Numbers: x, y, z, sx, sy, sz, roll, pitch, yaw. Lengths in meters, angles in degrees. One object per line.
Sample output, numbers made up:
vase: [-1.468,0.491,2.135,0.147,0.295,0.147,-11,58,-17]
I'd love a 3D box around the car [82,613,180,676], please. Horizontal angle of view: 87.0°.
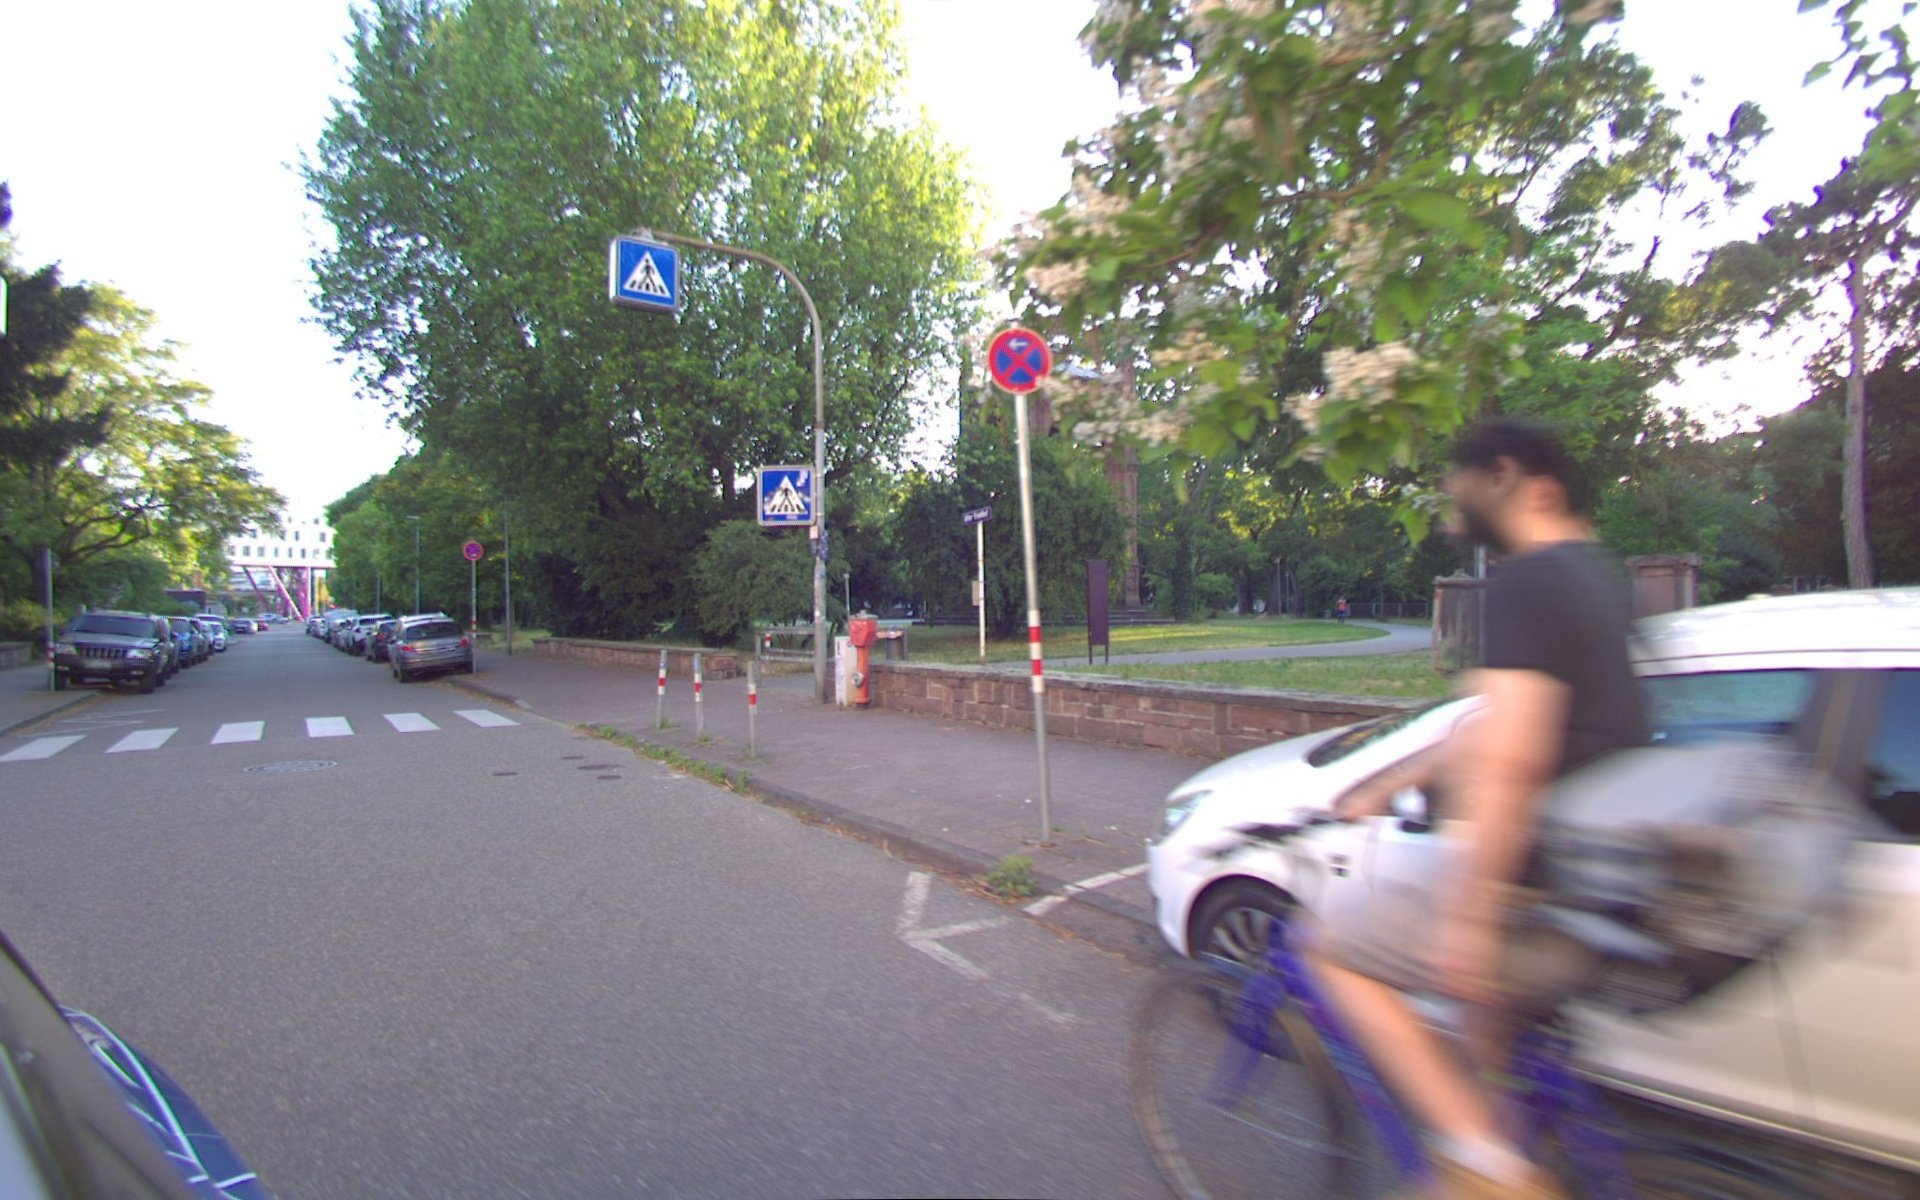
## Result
car: [-22.147,1.197,27.167,1.758,1.511,3.893,5,-5,-36]

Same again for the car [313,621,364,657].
car: [-31.692,1.951,51.548,1.759,1.583,3.893,-6,2,-37]

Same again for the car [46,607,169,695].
car: [-18.782,1.108,22.446,1.758,1.767,3.893,3,-3,-37]

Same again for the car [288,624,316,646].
car: [-61.260,3.225,94.210,1.759,1.796,4.021,-6,2,-37]

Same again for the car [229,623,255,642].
car: [-68.951,3.083,97.199,1.967,1.763,4.009,-1,-1,-36]

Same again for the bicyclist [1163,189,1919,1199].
bicyclist: [1.032,0.485,1.731,0.847,1.822,1.018,1,-2,-39]

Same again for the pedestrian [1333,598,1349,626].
pedestrian: [23.162,0.713,61.569,0.657,1.681,0.668,0,0,-10]

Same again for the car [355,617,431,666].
car: [-20.159,1.440,35.942,1.759,1.487,3.893,-6,2,-37]

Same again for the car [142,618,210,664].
car: [-28.337,1.481,36.655,1.758,1.511,3.893,5,-5,-36]

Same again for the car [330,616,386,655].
car: [-28.544,1.671,47.948,1.759,1.583,3.893,-6,2,-37]

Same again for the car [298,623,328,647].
car: [-55.088,2.986,86.160,1.759,1.808,3.893,-6,2,-37]

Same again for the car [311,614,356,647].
car: [-40.021,1.919,64.612,1.934,1.850,3.893,-6,2,-37]

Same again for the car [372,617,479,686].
car: [-13.839,1.273,26.080,1.759,1.461,3.893,-6,2,-37]

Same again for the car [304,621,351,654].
car: [-35.052,2.058,56.055,1.759,1.583,3.893,-6,2,-37]

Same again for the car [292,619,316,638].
car: [-70.548,3.061,108.754,1.759,1.796,4.021,-6,2,-37]

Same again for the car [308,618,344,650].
car: [-46.088,2.471,73.553,1.759,2.051,3.893,-6,2,-37]

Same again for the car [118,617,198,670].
car: [-25.345,1.359,32.095,1.758,1.511,3.893,5,-5,-36]

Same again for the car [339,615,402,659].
car: [-24.954,1.539,42.753,1.759,1.583,3.893,-6,2,-37]

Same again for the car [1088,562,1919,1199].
car: [2.401,0.686,2.942,1.641,1.526,3.891,-3,1,-40]

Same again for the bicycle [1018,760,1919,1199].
bicycle: [1.011,0.951,1.698,0.750,1.105,1.867,3,-2,-40]

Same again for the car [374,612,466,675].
car: [-16.153,1.252,30.180,1.759,1.589,3.893,-6,2,-37]
